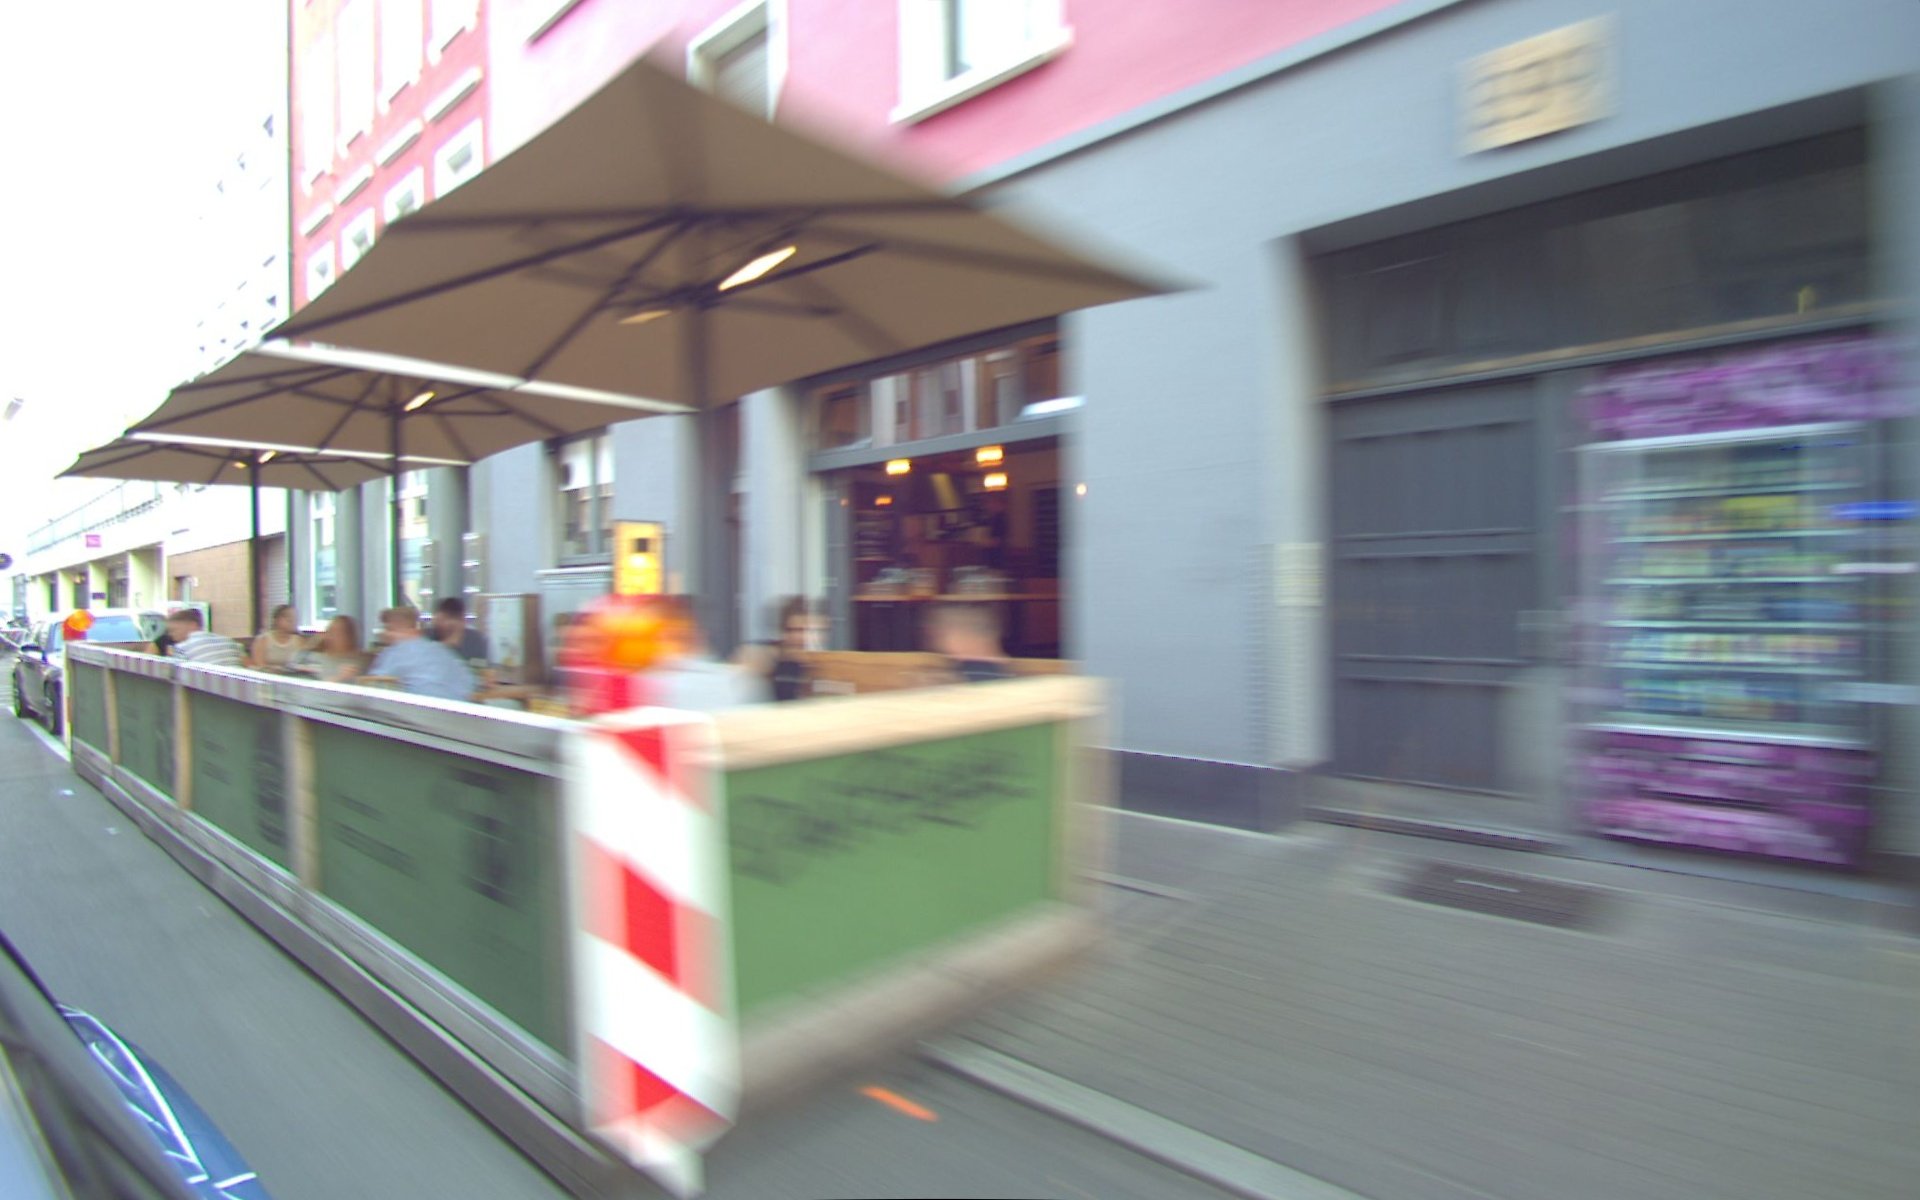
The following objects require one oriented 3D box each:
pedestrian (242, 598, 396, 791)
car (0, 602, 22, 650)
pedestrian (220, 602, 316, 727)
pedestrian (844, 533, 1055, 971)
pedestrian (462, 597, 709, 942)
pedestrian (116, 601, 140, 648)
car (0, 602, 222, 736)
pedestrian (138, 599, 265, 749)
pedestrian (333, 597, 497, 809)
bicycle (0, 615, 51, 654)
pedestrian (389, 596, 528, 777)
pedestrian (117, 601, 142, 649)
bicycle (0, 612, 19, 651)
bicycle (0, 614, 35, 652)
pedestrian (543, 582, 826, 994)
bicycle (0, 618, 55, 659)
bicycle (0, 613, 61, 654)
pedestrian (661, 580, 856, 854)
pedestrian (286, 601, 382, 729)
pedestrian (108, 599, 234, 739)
[{"bbox_3d":[-3.833,0.527,6.062,0.546,1.070,0.605,0,1,35],"label":"pedestrian"},{"bbox_3d":[-36.335,0.962,37.498,4.458,1.689,1.972,-1,0,43],"label":"car"},{"bbox_3d":[-6.100,0.545,8.923,0.491,1.044,0.552,0,1,35],"label":"pedestrian"},{"bbox_3d":[-0.030,0.511,3.833,0.546,1.483,0.605,0,1,35],"label":"pedestrian"},{"bbox_3d":[-1.305,0.528,3.558,0.546,1.070,0.605,0,1,35],"label":"pedestrian"},{"bbox_3d":[-30.100,0.880,36.625,0.632,1.675,0.719,-1,0,-38],"label":"pedestrian"},{"bbox_3d":[-11.309,0.799,13.328,4.133,1.471,1.700,-1,0,41],"label":"car"},{"bbox_3d":[-5.778,0.536,7.716,0.559,1.075,0.627,0,1,35],"label":"pedestrian"},{"bbox_3d":[-2.985,0.524,5.559,0.546,1.070,0.605,0,1,35],"label":"pedestrian"},{"bbox_3d":[-30.036,1.085,31.575,2.445,1.187,0.785,-1,1,-42],"label":"bicycle"},{"bbox_3d":[-3.181,0.516,6.435,0.546,1.070,0.596,0,1,35],"label":"pedestrian"},{"bbox_3d":[-29.503,0.882,35.952,0.632,1.675,0.719,-1,0,-38],"label":"pedestrian"},{"bbox_3d":[-33.998,1.098,34.751,2.445,1.340,0.785,-1,1,-42],"label":"bicycle"},{"bbox_3d":[-31.780,1.088,32.926,2.445,1.187,0.785,-1,1,-42],"label":"bicycle"},{"bbox_3d":[-0.812,0.485,3.033,0.546,1.070,0.605,0,1,35],"label":"pedestrian"},{"bbox_3d":[-29.357,1.189,30.984,2.445,1.187,0.785,-1,1,-42],"label":"bicycle"},{"bbox_3d":[-28.648,1.016,30.383,2.445,1.187,0.785,-1,1,-42],"label":"bicycle"},{"bbox_3d":[-0.857,0.452,4.350,0.546,1.070,0.605,0,1,35],"label":"pedestrian"},{"bbox_3d":[-5.403,0.540,8.742,0.491,1.044,0.552,0,1,35],"label":"pedestrian"},{"bbox_3d":[-6.395,0.531,8.214,0.546,1.070,0.665,0,1,35],"label":"pedestrian"}]
